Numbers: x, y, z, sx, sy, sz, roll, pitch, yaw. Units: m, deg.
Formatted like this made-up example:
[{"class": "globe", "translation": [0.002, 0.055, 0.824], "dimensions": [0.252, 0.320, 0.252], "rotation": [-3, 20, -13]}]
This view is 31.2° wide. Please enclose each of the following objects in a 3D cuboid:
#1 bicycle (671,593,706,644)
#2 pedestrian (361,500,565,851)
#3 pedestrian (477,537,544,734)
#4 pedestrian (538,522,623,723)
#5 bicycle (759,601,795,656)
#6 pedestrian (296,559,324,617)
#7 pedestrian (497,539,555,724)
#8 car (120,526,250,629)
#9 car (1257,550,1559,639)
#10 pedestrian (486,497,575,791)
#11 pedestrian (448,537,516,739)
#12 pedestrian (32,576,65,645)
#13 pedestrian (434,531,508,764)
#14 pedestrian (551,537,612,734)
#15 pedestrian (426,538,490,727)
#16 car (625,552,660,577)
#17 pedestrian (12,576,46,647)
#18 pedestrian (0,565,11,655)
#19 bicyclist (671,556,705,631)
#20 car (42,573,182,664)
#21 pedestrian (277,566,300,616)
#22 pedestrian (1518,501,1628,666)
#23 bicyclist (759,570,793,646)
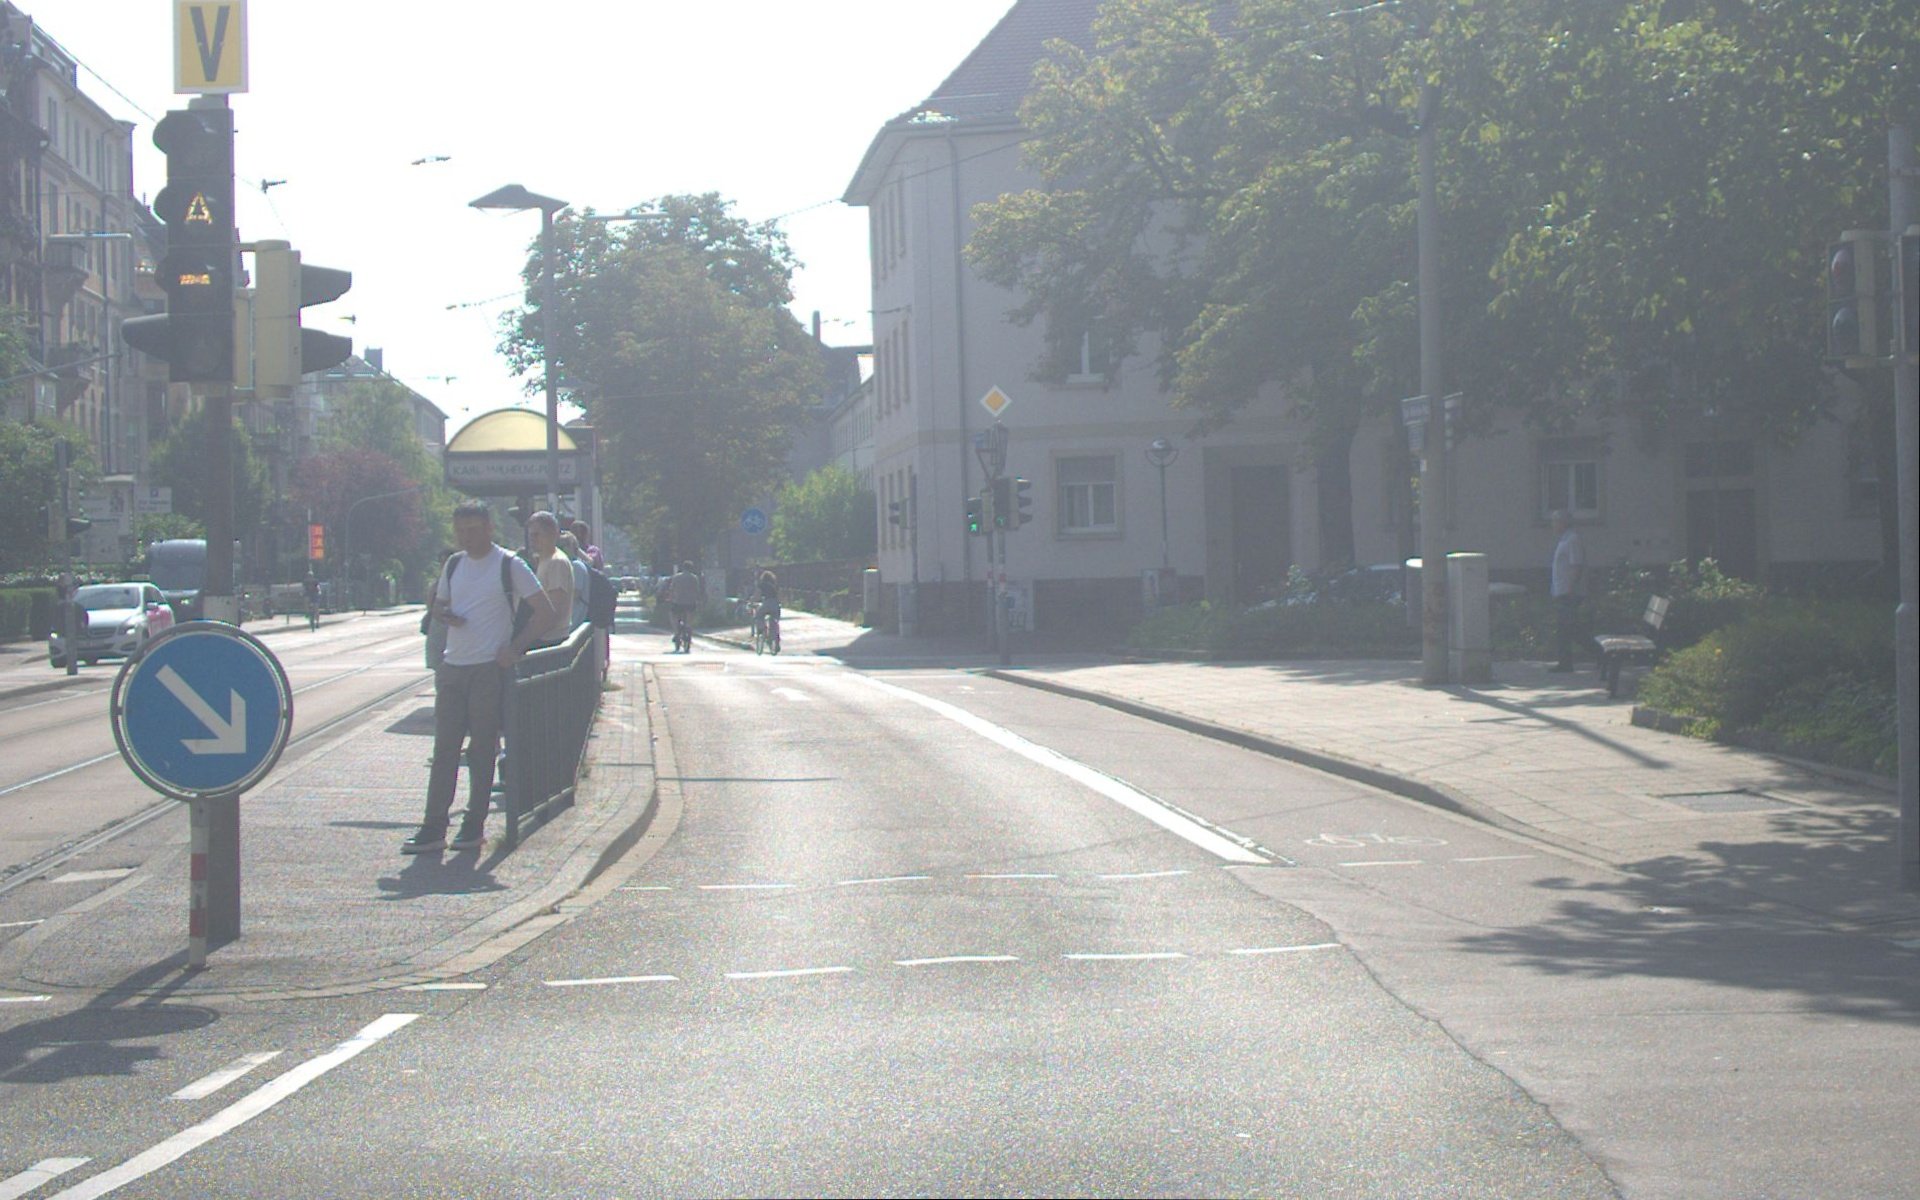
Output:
[{"class": "bicycle", "translation": [-5.464, 0.374, 69.154], "dimensions": [0.629, 0.974, 1.770], "rotation": [-2, 1, -6]}, {"class": "pedestrian", "translation": [-2.537, 0.361, 17.569], "dimensions": [0.701, 1.719, 0.747], "rotation": [3, 3, 28]}, {"class": "pedestrian", "translation": [-4.088, 0.316, 31.283], "dimensions": [0.543, 1.753, 0.534], "rotation": [1, 3, -4]}, {"class": "pedestrian", "translation": [-3.387, 0.196, 30.709], "dimensions": [0.708, 1.753, 0.534], "rotation": [1, 3, -4]}, {"class": "bicycle", "translation": [-3.480, 0.532, 65.265], "dimensions": [0.558, 0.974, 1.857], "rotation": [-2, 1, -6]}, {"class": "pedestrian", "translation": [-19.598, -0.377, 103.605], "dimensions": [0.749, 1.725, 0.772], "rotation": [-1, 1, -13]}, {"class": "pedestrian", "translation": [-4.201, 0.303, 33.279], "dimensions": [0.504, 1.753, 0.534], "rotation": [1, 3, -4]}, {"class": "car", "translation": [-20.806, -0.626, 92.514], "dimensions": [2.347, 2.653, 5.105], "rotation": [-1, 1, -1]}, {"class": "car", "translation": [7.140, -0.088, 54.951], "dimensions": [4.330, 1.316, 1.996], "rotation": [-1, 1, 34]}, {"class": "pedestrian", "translation": [-2.724, 0.271, 21.833], "dimensions": [0.504, 1.827, 0.534], "rotation": [1, 3, -4]}, {"class": "pedestrian", "translation": [-4.232, 0.331, 30.462], "dimensions": [0.543, 1.753, 0.534], "rotation": [1, 3, -4]}, {"class": "pedestrian", "translation": [-23.303, 0.260, 87.919], "dimensions": [0.749, 1.725, 0.772], "rotation": [-1, 1, -13]}, {"class": "pedestrian", "translation": [-3.763, 0.358, 26.476], "dimensions": [0.504, 1.753, 0.534], "rotation": [1, 3, -4]}, {"class": "pedestrian", "translation": [-3.448, 0.317, 31.326], "dimensions": [0.504, 1.753, 0.534], "rotation": [1, 3, -4]}, {"class": "pedestrian", "translation": [-4.765, 0.307, 32.658], "dimensions": [0.532, 1.753, 0.545], "rotation": [1, 3, -3]}, {"class": "car", "translation": [-22.962, -2.589, 248.626], "dimensions": [1.993, 1.777, 4.000], "rotation": [0, 0, 2]}, {"class": "pedestrian", "translation": [-23.064, 0.284, 85.206], "dimensions": [0.749, 1.725, 0.772], "rotation": [-1, 1, -13]}, {"class": "pedestrian", "translation": [-18.751, 0.201, 66.415], "dimensions": [0.749, 1.725, 0.772], "rotation": [-1, 1, -13]}, {"class": "bicyclist", "translation": [-5.471, -0.135, 69.146], "dimensions": [0.629, 1.502, 0.679], "rotation": [-2, 1, -6]}, {"class": "car", "translation": [-16.238, 0.335, 66.008], "dimensions": [1.801, 1.648, 3.643], "rotation": [-1, 1, -1]}, {"class": "pedestrian", "translation": [-23.802, -0.324, 121.875], "dimensions": [0.749, 1.725, 0.772], "rotation": [-1, 1, -13]}, {"class": "pedestrian", "translation": [6.552, -0.179, 36.753], "dimensions": [0.893, 1.734, 0.775], "rotation": [-1, 1, 33]}, {"class": "bicyclist", "translation": [-3.498, 0.150, 65.273], "dimensions": [0.558, 1.412, 0.872], "rotation": [-2, 1, -6]}]
